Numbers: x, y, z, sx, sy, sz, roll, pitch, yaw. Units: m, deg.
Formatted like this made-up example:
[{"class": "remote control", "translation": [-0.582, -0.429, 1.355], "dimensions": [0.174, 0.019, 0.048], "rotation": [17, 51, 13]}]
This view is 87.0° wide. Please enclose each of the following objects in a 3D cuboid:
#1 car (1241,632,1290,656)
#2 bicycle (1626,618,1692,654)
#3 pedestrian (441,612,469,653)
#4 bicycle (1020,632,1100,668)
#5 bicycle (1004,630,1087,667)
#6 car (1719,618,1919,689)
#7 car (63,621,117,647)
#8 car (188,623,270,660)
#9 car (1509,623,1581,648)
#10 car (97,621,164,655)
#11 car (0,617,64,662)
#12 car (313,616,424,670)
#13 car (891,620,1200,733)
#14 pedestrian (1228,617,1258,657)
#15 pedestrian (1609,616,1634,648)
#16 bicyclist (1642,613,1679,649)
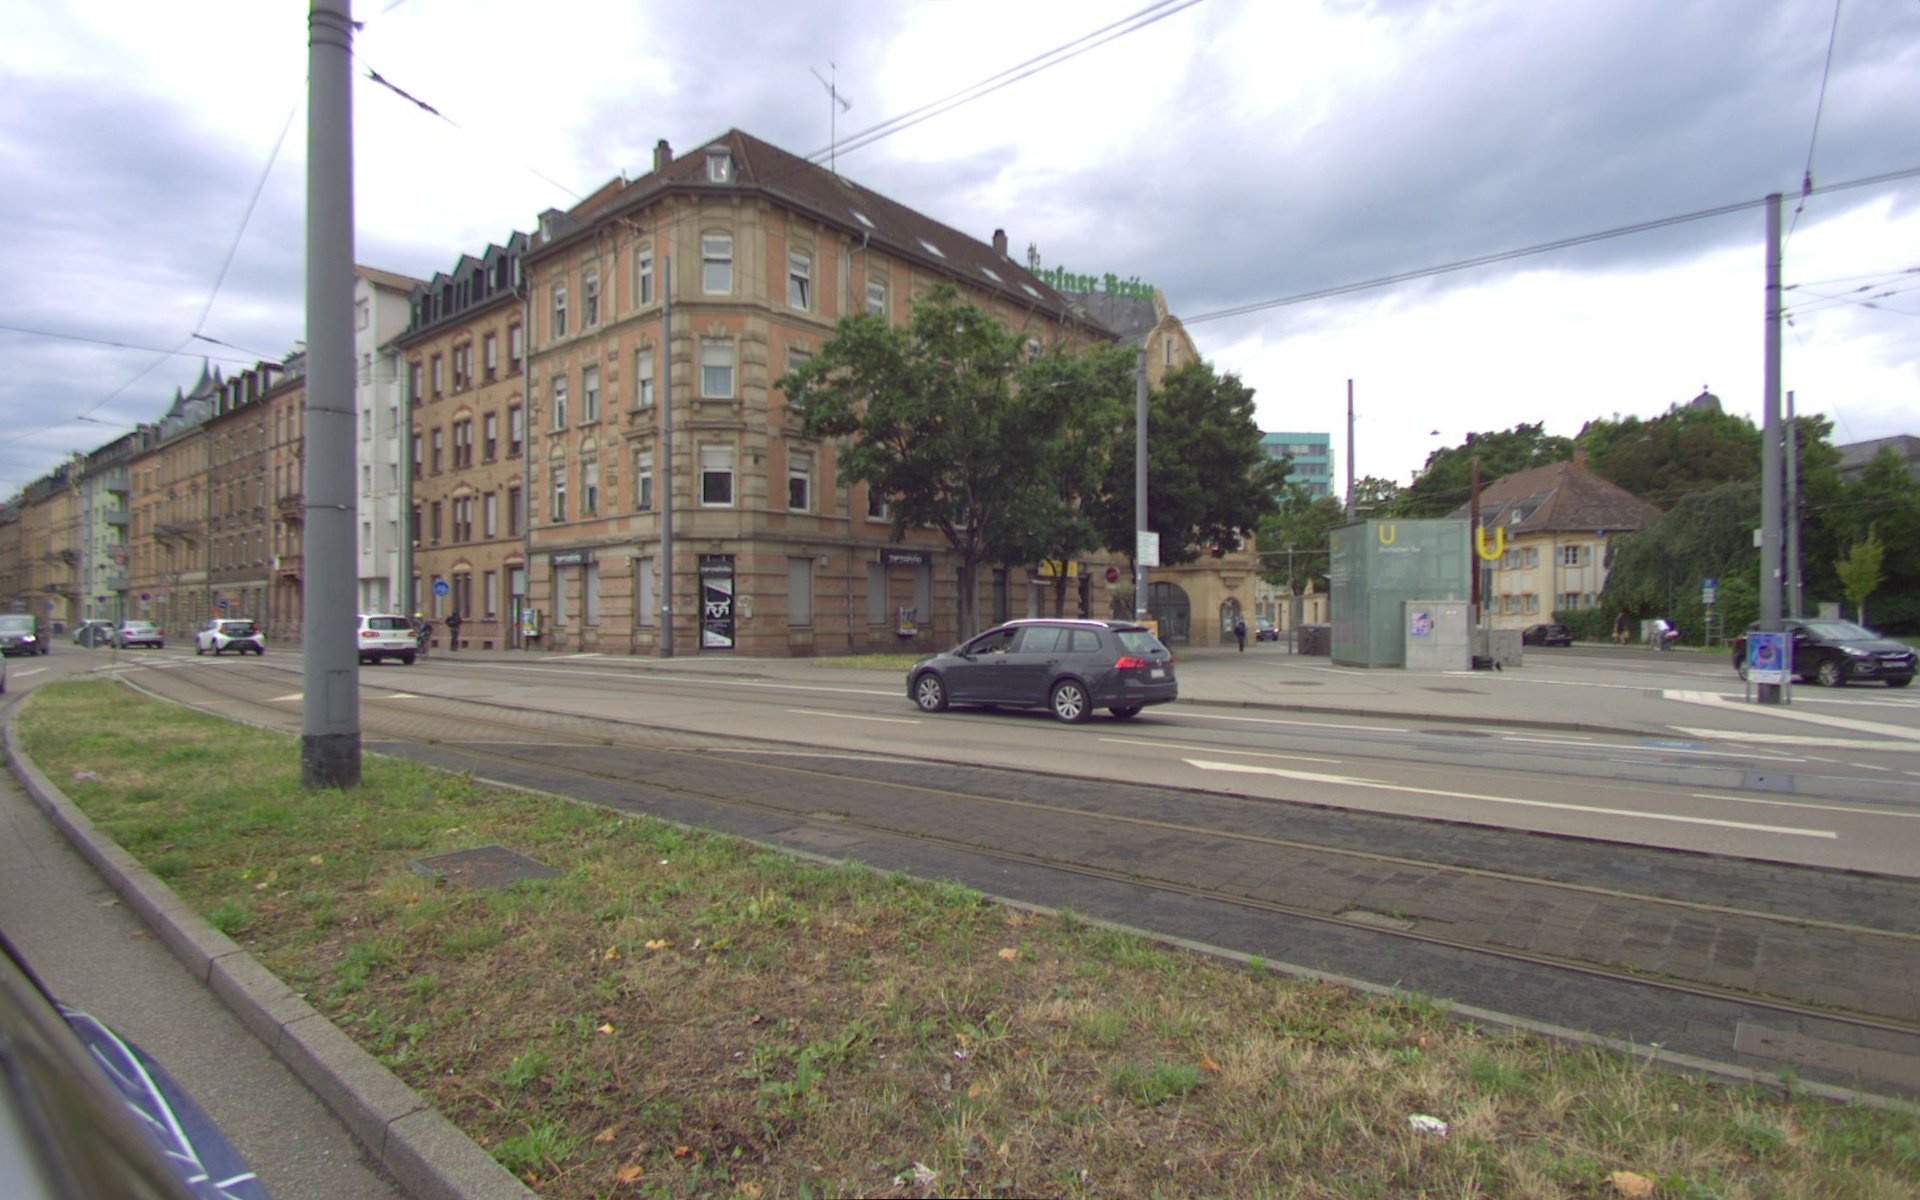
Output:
[{"class": "car", "translation": [22.906, 3.275, 75.956], "dimensions": [2.133, 1.727, 4.923], "rotation": [2, -2, 0]}, {"class": "bicycle", "translation": [34.893, 1.767, 50.577], "dimensions": [1.070, 1.763, 3.087], "rotation": [0, -1, -2]}, {"class": "pedestrian", "translation": [-21.068, 1.368, 42.231], "dimensions": [0.797, 1.688, 0.802], "rotation": [-1, -2, 37]}, {"class": "bicycle", "translation": [2.982, 1.474, 30.305], "dimensions": [2.395, 1.038, 0.744], "rotation": [-1, -2, 41]}, {"class": "bicycle", "translation": [2.489, 1.412, 29.702], "dimensions": [2.395, 1.038, 0.826], "rotation": [-1, -2, 41]}, {"class": "car", "translation": [21.677, 1.265, 25.265], "dimensions": [1.969, 1.623, 4.250], "rotation": [0, -1, -6]}, {"class": "car", "translation": [-53.826, 2.073, 62.597], "dimensions": [4.570, 1.521, 1.796], "rotation": [-1, -1, 39]}, {"class": "car", "translation": [-30.474, 1.705, 42.148], "dimensions": [4.013, 1.442, 1.792], "rotation": [-1, -1, 39]}, {"class": "car", "translation": [35.722, 2.151, 61.936], "dimensions": [1.971, 1.442, 4.001], "rotation": [0, -1, -2]}, {"class": "car", "translation": [-43.306, 1.950, 52.808], "dimensions": [4.229, 1.716, 1.873], "rotation": [-1, -1, 39]}, {"class": "car", "translation": [-38.836, 1.608, 41.816], "dimensions": [5.131, 1.768, 2.340], "rotation": [-2, -2, 44]}, {"class": "car", "translation": [-19.468, 1.373, 33.240], "dimensions": [4.226, 1.658, 1.812], "rotation": [-1, -1, 39]}, {"class": "car", "translation": [1.195, 1.060, 15.488], "dimensions": [4.459, 1.481, 1.865], "rotation": [-1, -1, 39]}, {"class": "pedestrian", "translation": [13.625, 1.755, 48.690], "dimensions": [1.083, 1.911, 1.139], "rotation": [-1, -2, 34]}, {"class": "pedestrian", "translation": [38.361, 1.828, 58.687], "dimensions": [0.797, 1.846, 0.851], "rotation": [0, -1, -7]}, {"class": "bicyclist", "translation": [34.919, 1.537, 50.457], "dimensions": [1.077, 1.796, 1.017], "rotation": [0, -1, -2]}]
